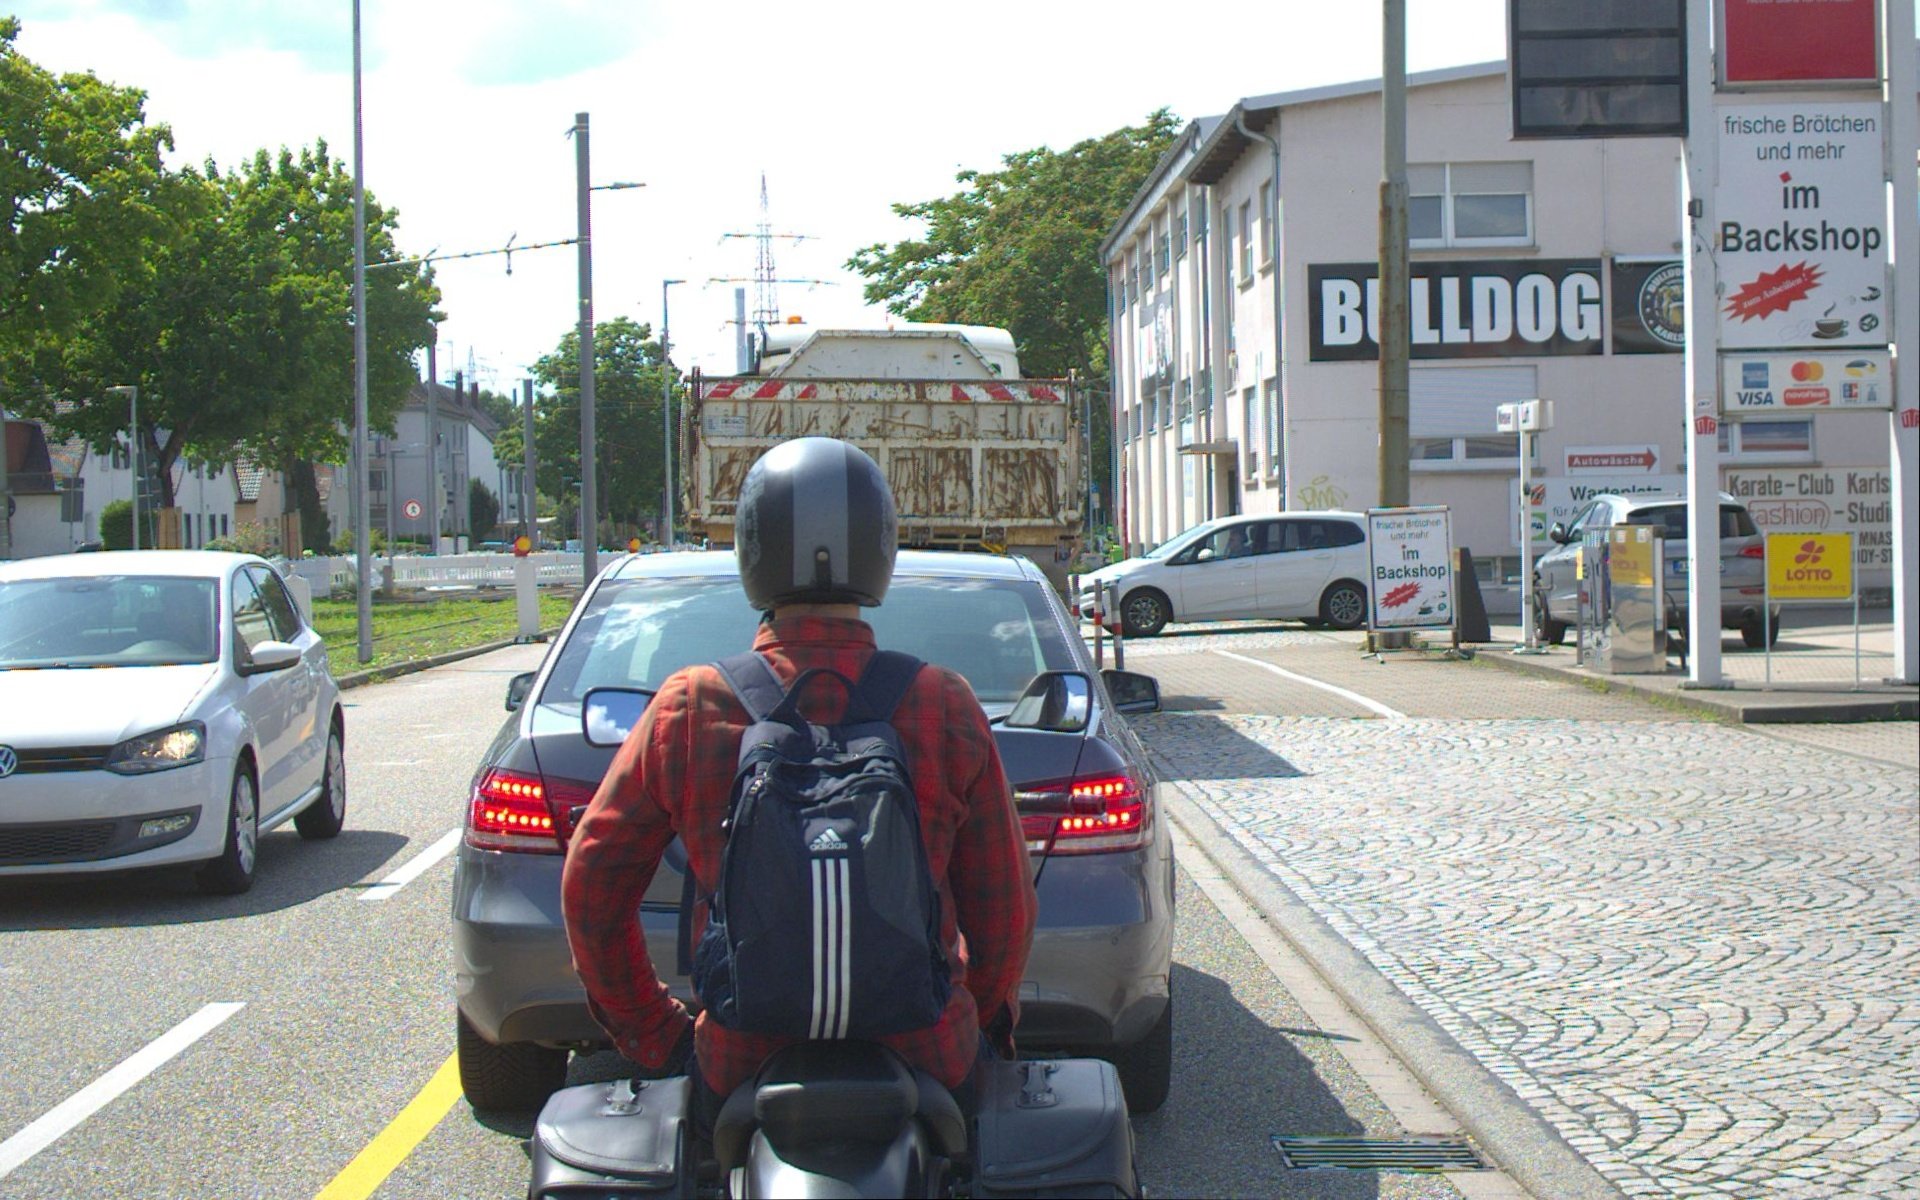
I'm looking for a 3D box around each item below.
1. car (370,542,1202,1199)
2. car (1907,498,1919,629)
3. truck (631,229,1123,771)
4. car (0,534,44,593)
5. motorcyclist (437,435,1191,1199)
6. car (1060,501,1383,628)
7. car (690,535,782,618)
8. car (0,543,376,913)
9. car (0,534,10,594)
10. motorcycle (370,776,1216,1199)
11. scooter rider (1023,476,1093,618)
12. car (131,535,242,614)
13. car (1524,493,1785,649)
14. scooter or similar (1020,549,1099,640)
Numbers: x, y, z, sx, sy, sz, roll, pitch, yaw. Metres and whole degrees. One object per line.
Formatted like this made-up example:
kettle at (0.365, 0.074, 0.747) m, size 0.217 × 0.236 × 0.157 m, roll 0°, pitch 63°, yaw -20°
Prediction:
car at (-0.445, 0.606, 9.741) m, size 1.832 × 1.474 × 4.010 m, roll -1°, pitch 1°, yaw -2°
car at (11.792, -0.398, 37.240) m, size 1.832 × 1.474 × 4.010 m, roll -1°, pitch 1°, yaw -2°
truck at (-0.630, -0.713, 25.465) m, size 2.970 × 3.293 × 8.408 m, roll -1°, pitch 1°, yaw -2°
car at (-29.265, -1.107, 104.583) m, size 1.698 × 1.733 × 4.062 m, roll -1°, pitch 1°, yaw 0°
motorcyclist at (-0.201, 0.591, 5.081) m, size 0.969 × 1.627 × 1.215 m, roll 1°, pitch 1°, yaw -1°
car at (3.553, -0.498, 47.027) m, size 4.104 × 1.619 × 1.686 m, roll -1°, pitch 1°, yaw -8°
car at (-4.635, -0.511, 71.480) m, size 1.680 × 1.619 × 4.119 m, roll -1°, pitch 1°, yaw -1°
car at (-3.869, 0.477, 15.619) m, size 1.715 × 1.409 × 4.262 m, roll -1°, pitch 1°, yaw -1°
car at (-28.670, -0.996, 98.573) m, size 1.698 × 1.733 × 4.062 m, roll -1°, pitch 1°, yaw 0°
motorcycle at (-0.211, 0.866, 5.204) m, size 0.976 × 1.010 × 2.432 m, roll 1°, pitch 1°, yaw -1°
scooter rider at (1.273, -0.690, 44.650) m, size 0.795 × 1.812 × 0.508 m, roll -1°, pitch 1°, yaw -7°
car at (-17.941, -0.619, 79.893) m, size 1.698 × 1.733 × 3.860 m, roll -1°, pitch 1°, yaw 0°
car at (7.328, -0.338, 36.642) m, size 1.832 × 1.530 × 4.010 m, roll -1°, pitch 1°, yaw -2°
scooter or similar at (1.288, -0.084, 44.670) m, size 0.795 × 1.141 × 1.519 m, roll -1°, pitch 1°, yaw -7°
